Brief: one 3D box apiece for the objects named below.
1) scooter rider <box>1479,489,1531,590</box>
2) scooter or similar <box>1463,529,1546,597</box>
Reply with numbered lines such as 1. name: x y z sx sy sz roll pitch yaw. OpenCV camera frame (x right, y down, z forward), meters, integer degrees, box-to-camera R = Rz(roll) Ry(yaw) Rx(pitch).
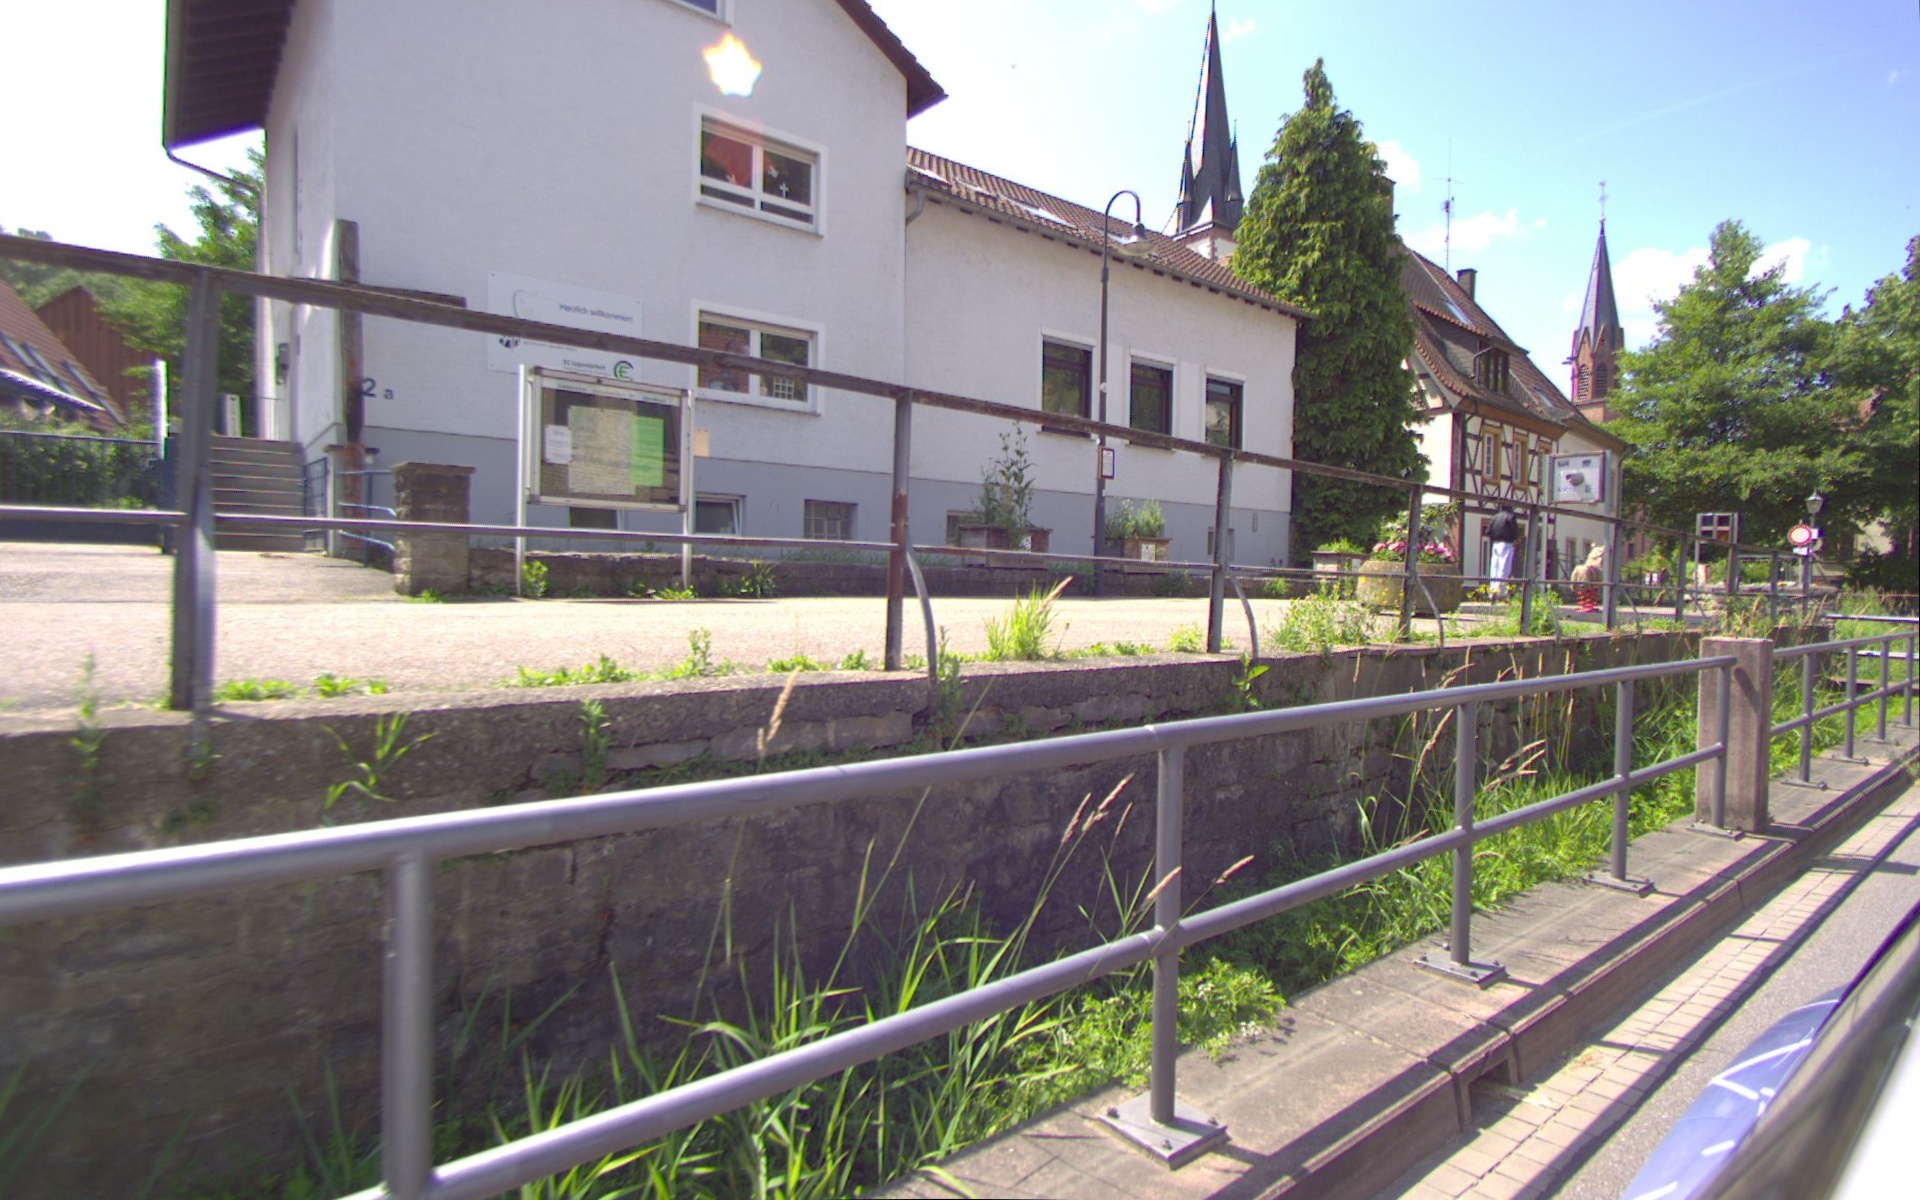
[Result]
1. scooter rider: 9.684 -1.063 17.983 0.544 1.753 0.643 0 1 -39
2. scooter or similar: 9.719 -0.655 18.042 1.779 1.156 0.643 -1 3 -39
